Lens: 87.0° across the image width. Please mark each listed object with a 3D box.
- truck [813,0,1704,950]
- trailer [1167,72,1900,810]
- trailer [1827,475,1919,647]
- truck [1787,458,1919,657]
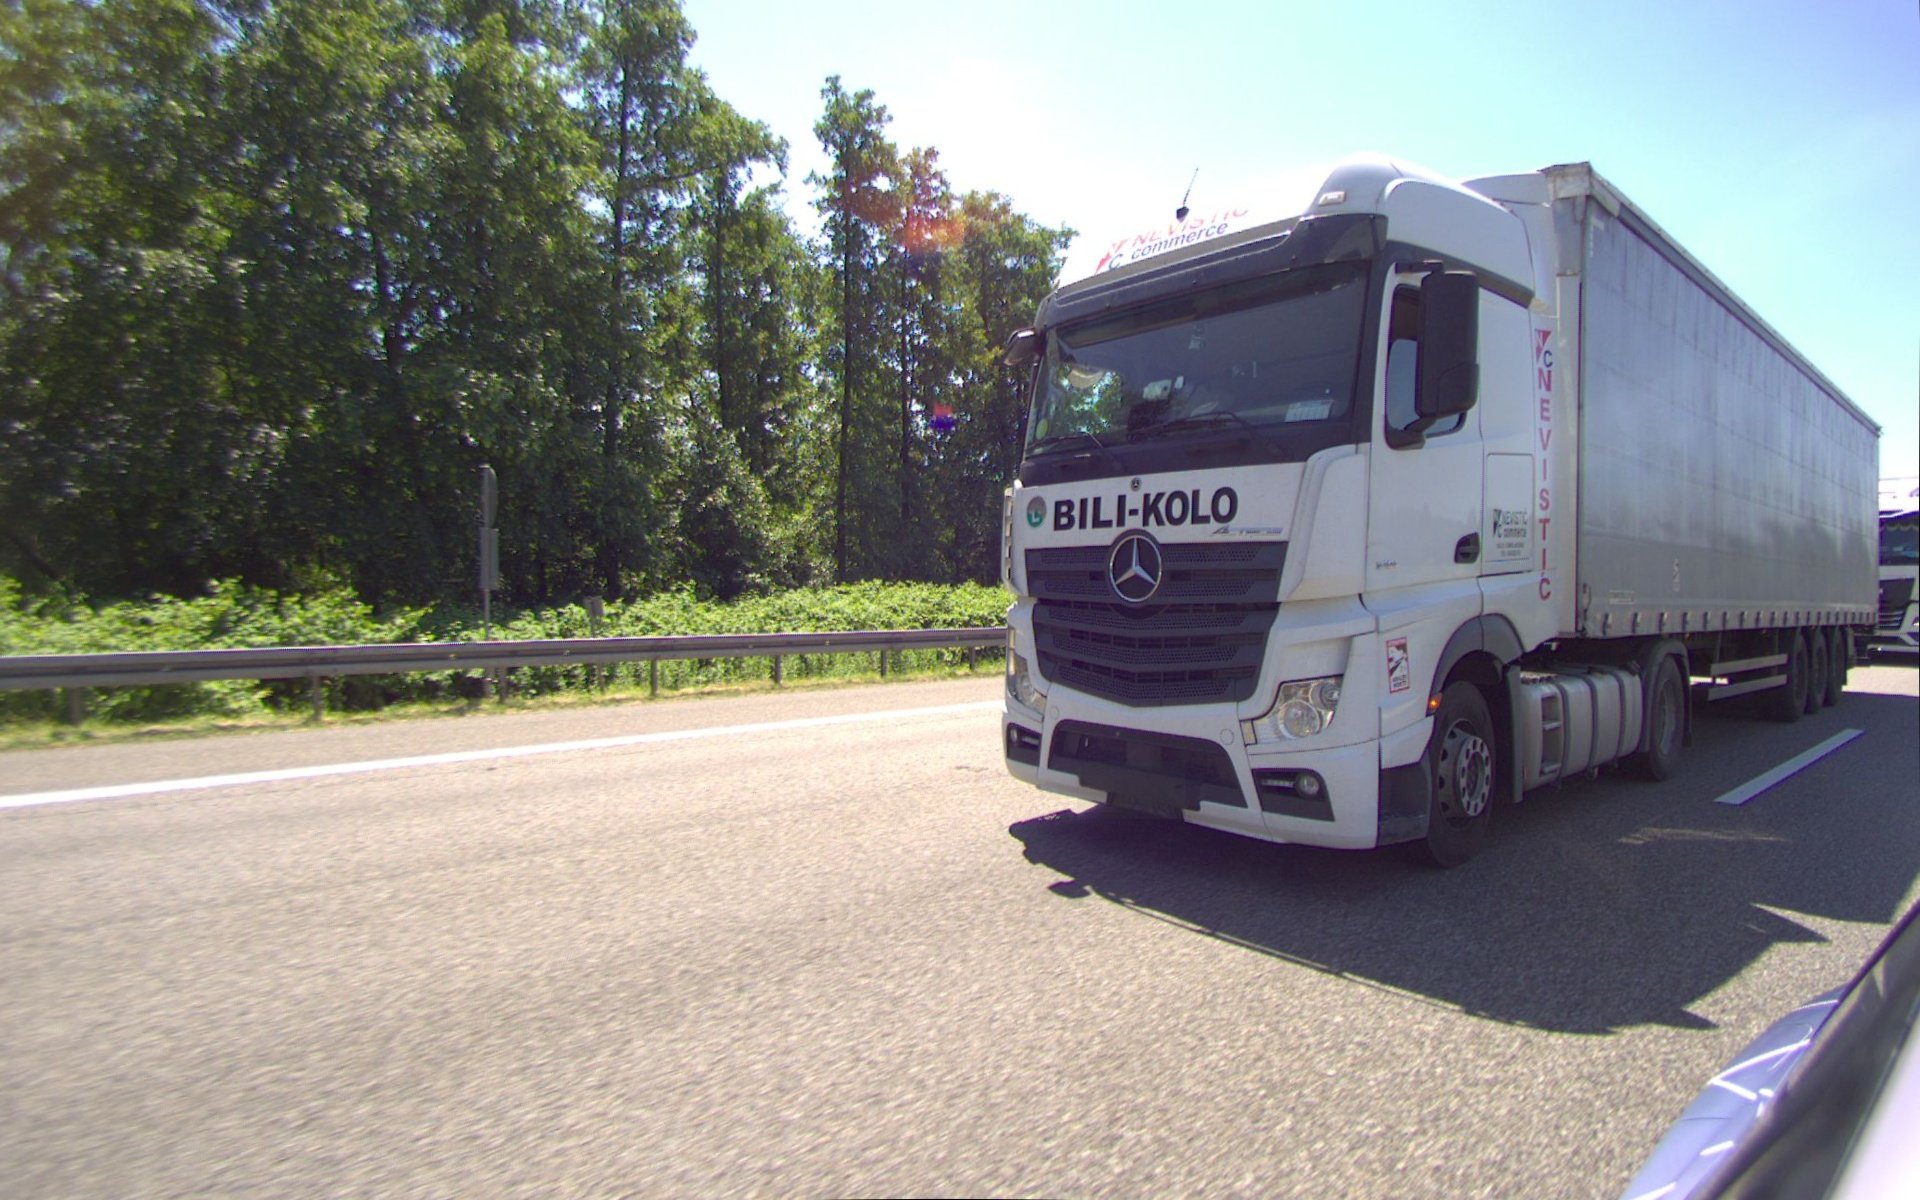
[{"bbox_3d":[2.447,-0.916,6.681,6.342,4.145,2.705,-1,1,-41],"label":"truck"},{"bbox_3d":[7.881,-1.033,11.498,14.492,4.119,2.712,-1,1,-42],"label":"trailer"},{"bbox_3d":[27.251,-0.980,28.316,12.349,4.086,2.799,-1,1,-41],"label":"trailer"},{"bbox_3d":[21.378,-0.906,23.150,5.915,4.057,2.805,-1,1,-41],"label":"truck"}]
